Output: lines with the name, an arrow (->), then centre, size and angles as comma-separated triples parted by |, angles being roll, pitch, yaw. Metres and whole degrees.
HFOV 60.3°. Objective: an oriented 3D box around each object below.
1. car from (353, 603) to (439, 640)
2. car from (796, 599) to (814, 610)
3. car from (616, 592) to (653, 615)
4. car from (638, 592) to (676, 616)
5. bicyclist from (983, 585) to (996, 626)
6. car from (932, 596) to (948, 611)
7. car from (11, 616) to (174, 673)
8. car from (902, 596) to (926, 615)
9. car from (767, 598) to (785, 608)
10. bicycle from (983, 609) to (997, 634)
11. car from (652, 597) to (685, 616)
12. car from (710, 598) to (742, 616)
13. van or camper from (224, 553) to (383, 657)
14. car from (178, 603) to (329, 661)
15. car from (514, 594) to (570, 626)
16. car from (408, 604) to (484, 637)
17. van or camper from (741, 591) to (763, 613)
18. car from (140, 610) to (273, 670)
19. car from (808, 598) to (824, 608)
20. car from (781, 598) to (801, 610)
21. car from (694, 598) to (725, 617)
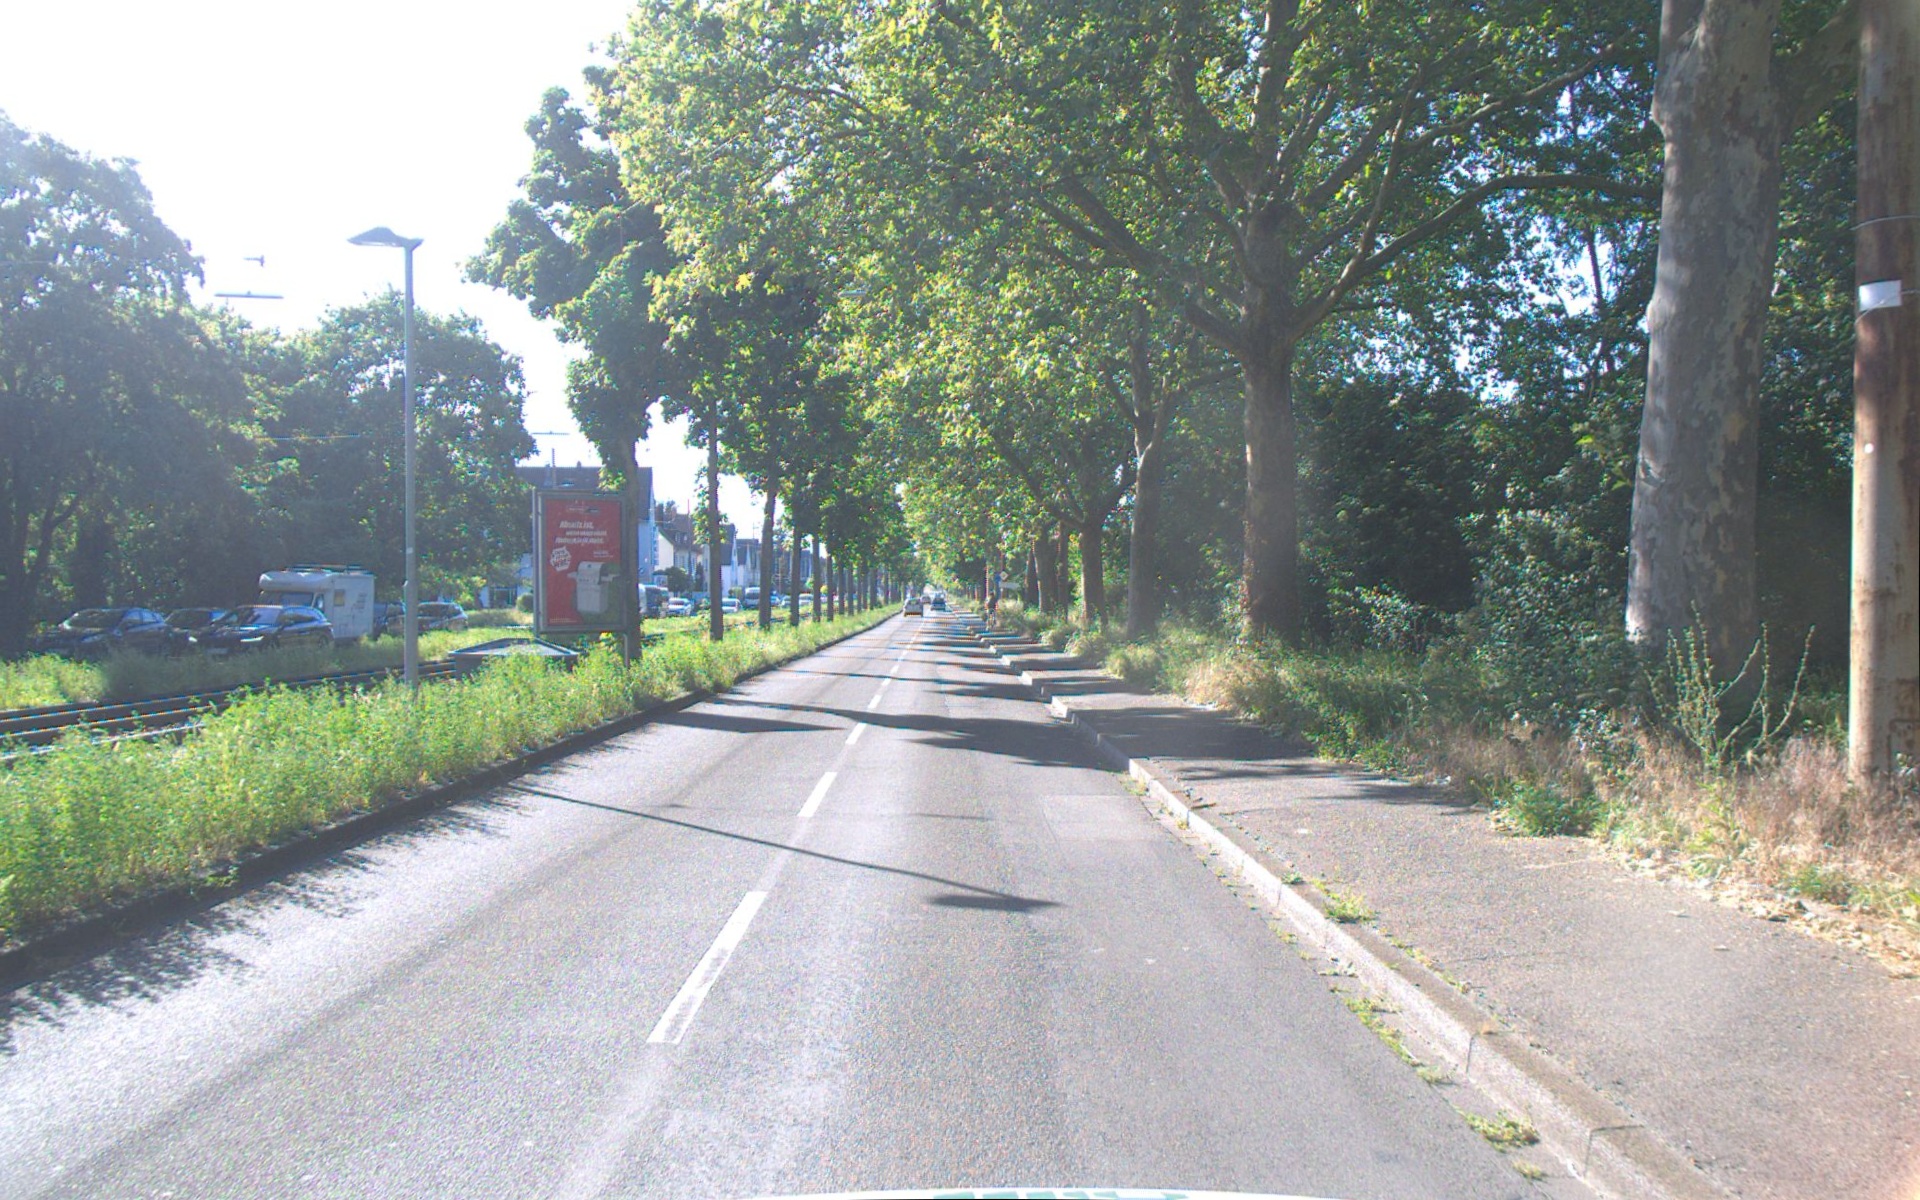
car -> -21.049, 0.792, 61.902 | 1.881, 1.288, 3.999 | -1, 0, -1
car -> -18.872, 0.578, 201.483 | 1.882, 1.288, 3.999 | -1, 0, -1
car -> -21.754, 0.225, 110.742 | 1.708, 1.522, 3.592 | -1, 0, 1
car -> -21.598, 0.281, 118.046 | 1.881, 1.656, 4.000 | -1, 0, 1
bicyclist -> 1.313, 0.253, 73.858 | 0.523, 1.801, 0.712 | -1, 0, -3
car -> -2.250, 0.427, 184.008 | 1.715, 1.632, 3.749 | 0, 0, -1
car -> -21.550, 1.076, 41.276 | 1.881, 1.288, 4.000 | -1, 0, 1
car -> -3.700, 0.478, 133.989 | 1.829, 1.512, 3.555 | 0, 0, -1
car -> -23.536, 0.420, 211.968 | 1.882, 1.288, 3.999 | -1, 0, -1
bicycle -> 1.331, 0.959, 73.755 | 0.525, 1.085, 1.433 | -1, 0, -3
car -> -23.236, 0.499, 132.089 | 1.881, 1.463, 4.000 | -1, 0, 1
car -> -17.953, 0.534, 127.001 | 1.881, 1.288, 4.000 | -1, 0, 1
van or camper -> -21.307, 0.140, 54.096 | 2.537, 3.160, 6.787 | -1, 0, -1
car -> -16.941, 0.730, 39.892 | 1.881, 1.288, 4.000 | -1, 0, 1
car -> -21.831, 0.488, 86.478 | 1.881, 1.604, 4.000 | -1, 0, 1
car -> -21.116, 0.835, 68.060 | 1.881, 1.288, 3.999 | -1, 0, -1
van or camper -> -23.863, 0.201, 189.541 | 1.953, 2.474, 4.000 | -1, 0, 0
car -> -21.363, 1.100, 47.056 | 1.881, 1.589, 4.001 | -1, 0, 1
car -> -19.036, 0.413, 219.114 | 1.882, 1.288, 3.999 | -1, 0, -1
car -> -18.483, 0.446, 181.199 | 1.882, 1.288, 3.999 | -1, 0, -1
car -> -22.184, 0.643, 146.570 | 1.952, 1.672, 4.001 | -1, 0, 2
